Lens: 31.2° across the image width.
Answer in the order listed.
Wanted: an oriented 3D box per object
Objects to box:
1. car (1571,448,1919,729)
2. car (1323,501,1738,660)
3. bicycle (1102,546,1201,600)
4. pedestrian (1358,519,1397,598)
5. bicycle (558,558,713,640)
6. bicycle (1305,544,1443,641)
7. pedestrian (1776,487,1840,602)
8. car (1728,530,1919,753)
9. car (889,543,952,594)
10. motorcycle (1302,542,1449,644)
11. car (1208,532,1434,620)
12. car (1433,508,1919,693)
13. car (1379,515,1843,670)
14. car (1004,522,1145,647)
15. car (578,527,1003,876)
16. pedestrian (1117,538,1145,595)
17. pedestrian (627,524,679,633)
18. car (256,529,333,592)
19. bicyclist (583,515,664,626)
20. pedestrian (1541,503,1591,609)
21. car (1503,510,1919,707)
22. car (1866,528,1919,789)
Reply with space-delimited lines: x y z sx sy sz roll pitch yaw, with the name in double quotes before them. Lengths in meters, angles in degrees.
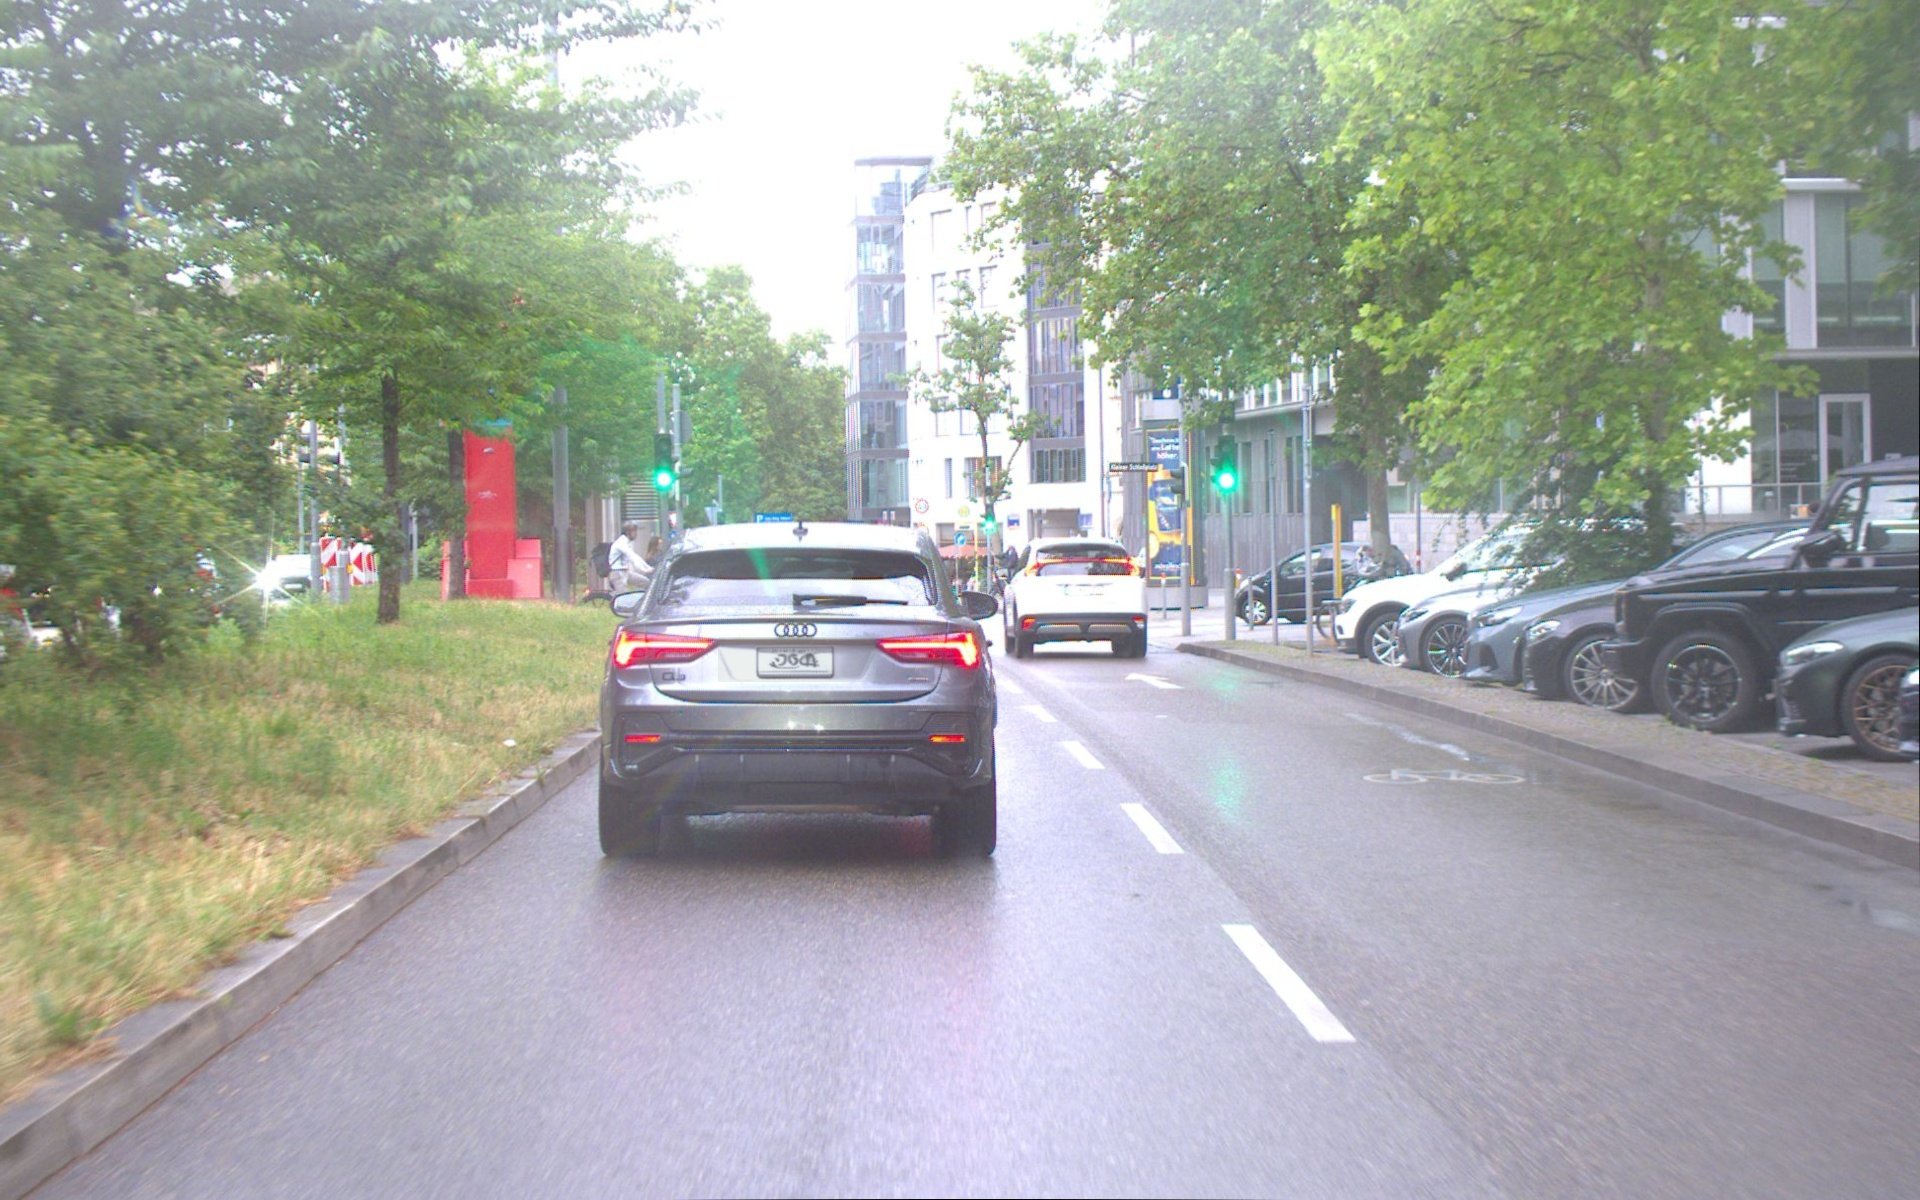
"car" 7.132 -0.107 24.916 4.944 1.972 1.927 -1 1 26
"car" 6.413 -0.216 38.689 4.223 1.663 1.836 -1 1 27
"bicycle" 4.704 -0.665 84.474 2.337 1.308 0.710 0 1 -7
"pedestrian" 11.227 -1.116 92.348 0.936 2.108 1.075 0 0 12
"bicycle" -4.909 -0.016 52.135 2.254 1.158 0.751 2 0 -1
"bicycle" 6.074 -0.113 50.431 1.983 1.410 0.725 0 0 9
"pedestrian" 13.565 -0.883 54.985 0.639 1.777 0.771 -4 0 -8
"car" 7.397 0.228 21.703 4.630 1.390 1.844 -1 0 29
"car" -1.176 -0.963 103.887 1.849 1.518 4.039 0 1 0
"motorcycle" 5.855 -0.100 48.412 2.029 1.410 0.725 0 0 9
"car" 6.589 -0.435 62.948 3.861 1.562 1.664 1 0 42
"car" 6.761 -0.011 30.834 4.778 1.528 1.868 -1 1 15
"car" 6.694 -0.073 35.439 4.300 1.483 1.840 -1 1 29
"car" 1.556 -0.239 47.934 1.849 1.663 4.039 0 1 0
"car" -0.758 0.399 17.000 1.849 1.518 4.039 0 1 -1
"pedestrian" 6.092 -1.186 122.538 0.855 2.007 0.976 0 0 -5
"pedestrian" -5.066 -0.356 56.740 0.662 1.787 0.750 0 0 12
"car" -20.671 -1.250 106.966 1.993 1.820 4.001 -2 2 -7
"bicyclist" -5.099 -0.445 52.136 1.104 1.616 0.751 2 0 -1
"pedestrian" 12.133 -0.872 68.825 0.936 2.108 1.075 0 0 12
"car" 6.878 0.053 27.756 4.560 1.501 1.867 -1 1 25
"car" 7.354 0.306 18.809 4.371 1.431 1.759 0 1 26
